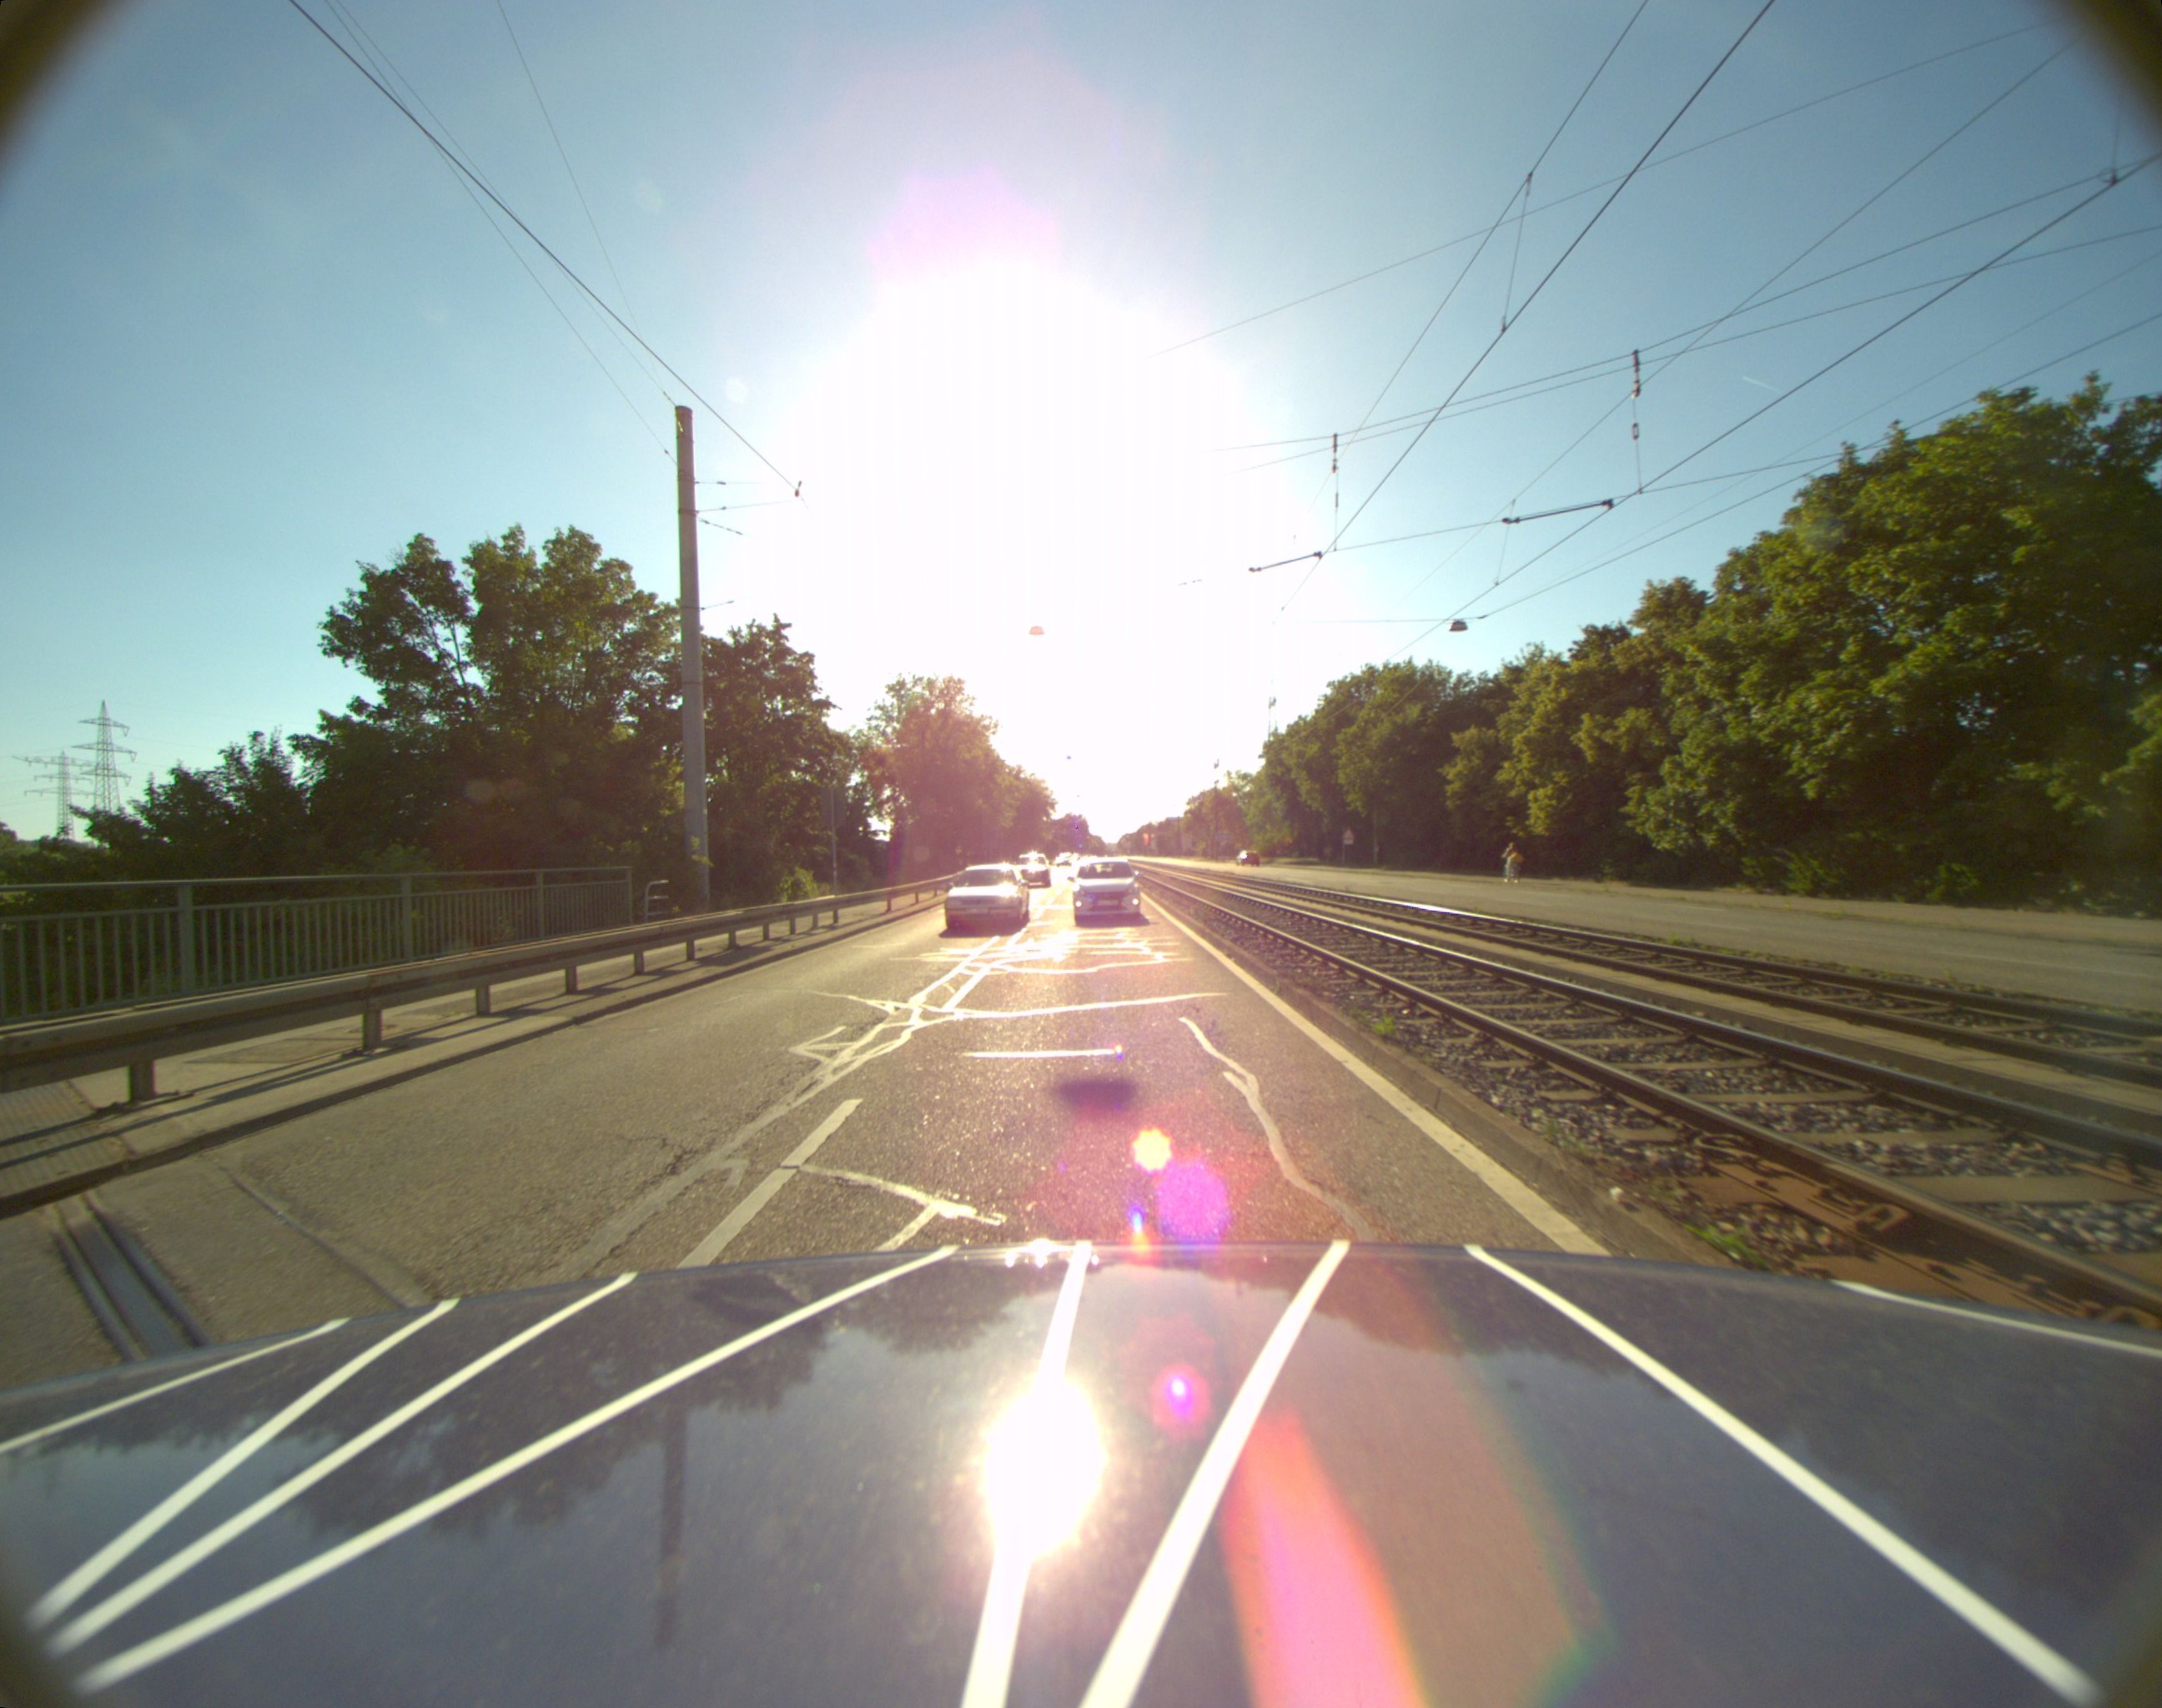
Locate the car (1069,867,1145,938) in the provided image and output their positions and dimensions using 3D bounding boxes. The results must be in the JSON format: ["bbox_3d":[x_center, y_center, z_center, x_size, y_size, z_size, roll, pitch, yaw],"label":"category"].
[{"bbox_3d":[0.681,1.170,19.661,1.709,1.503,3.862,-2,1,2],"label":"car"}]

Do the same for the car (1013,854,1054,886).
[{"bbox_3d":[-2.449,0.813,39.996,1.709,1.512,3.844,-2,1,2],"label":"car"}]

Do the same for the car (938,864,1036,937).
[{"bbox_3d":[-2.164,1.036,18.566,1.693,1.409,4.135,-2,1,2],"label":"car"}]

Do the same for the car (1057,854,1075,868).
[{"bbox_3d":[-1.800,0.819,92.349,1.904,1.512,3.956,-2,1,2],"label":"car"}]

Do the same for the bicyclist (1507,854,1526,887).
[{"bbox_3d":[19.239,0.706,33.558,0.422,1.421,0.755,-2,1,7],"label":"bicyclist"}]

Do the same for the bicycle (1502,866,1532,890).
[{"bbox_3d":[19.264,1.064,33.627,0.425,0.958,1.914,-2,1,7],"label":"bicycle"}]

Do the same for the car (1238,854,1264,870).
[{"bbox_3d":[18.461,0.867,82.611,1.977,1.512,3.956,-2,1,2],"label":"car"}]

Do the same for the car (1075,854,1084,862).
[{"bbox_3d":[-0.332,0.814,162.715,1.904,1.512,3.956,-2,1,1],"label":"car"}]
